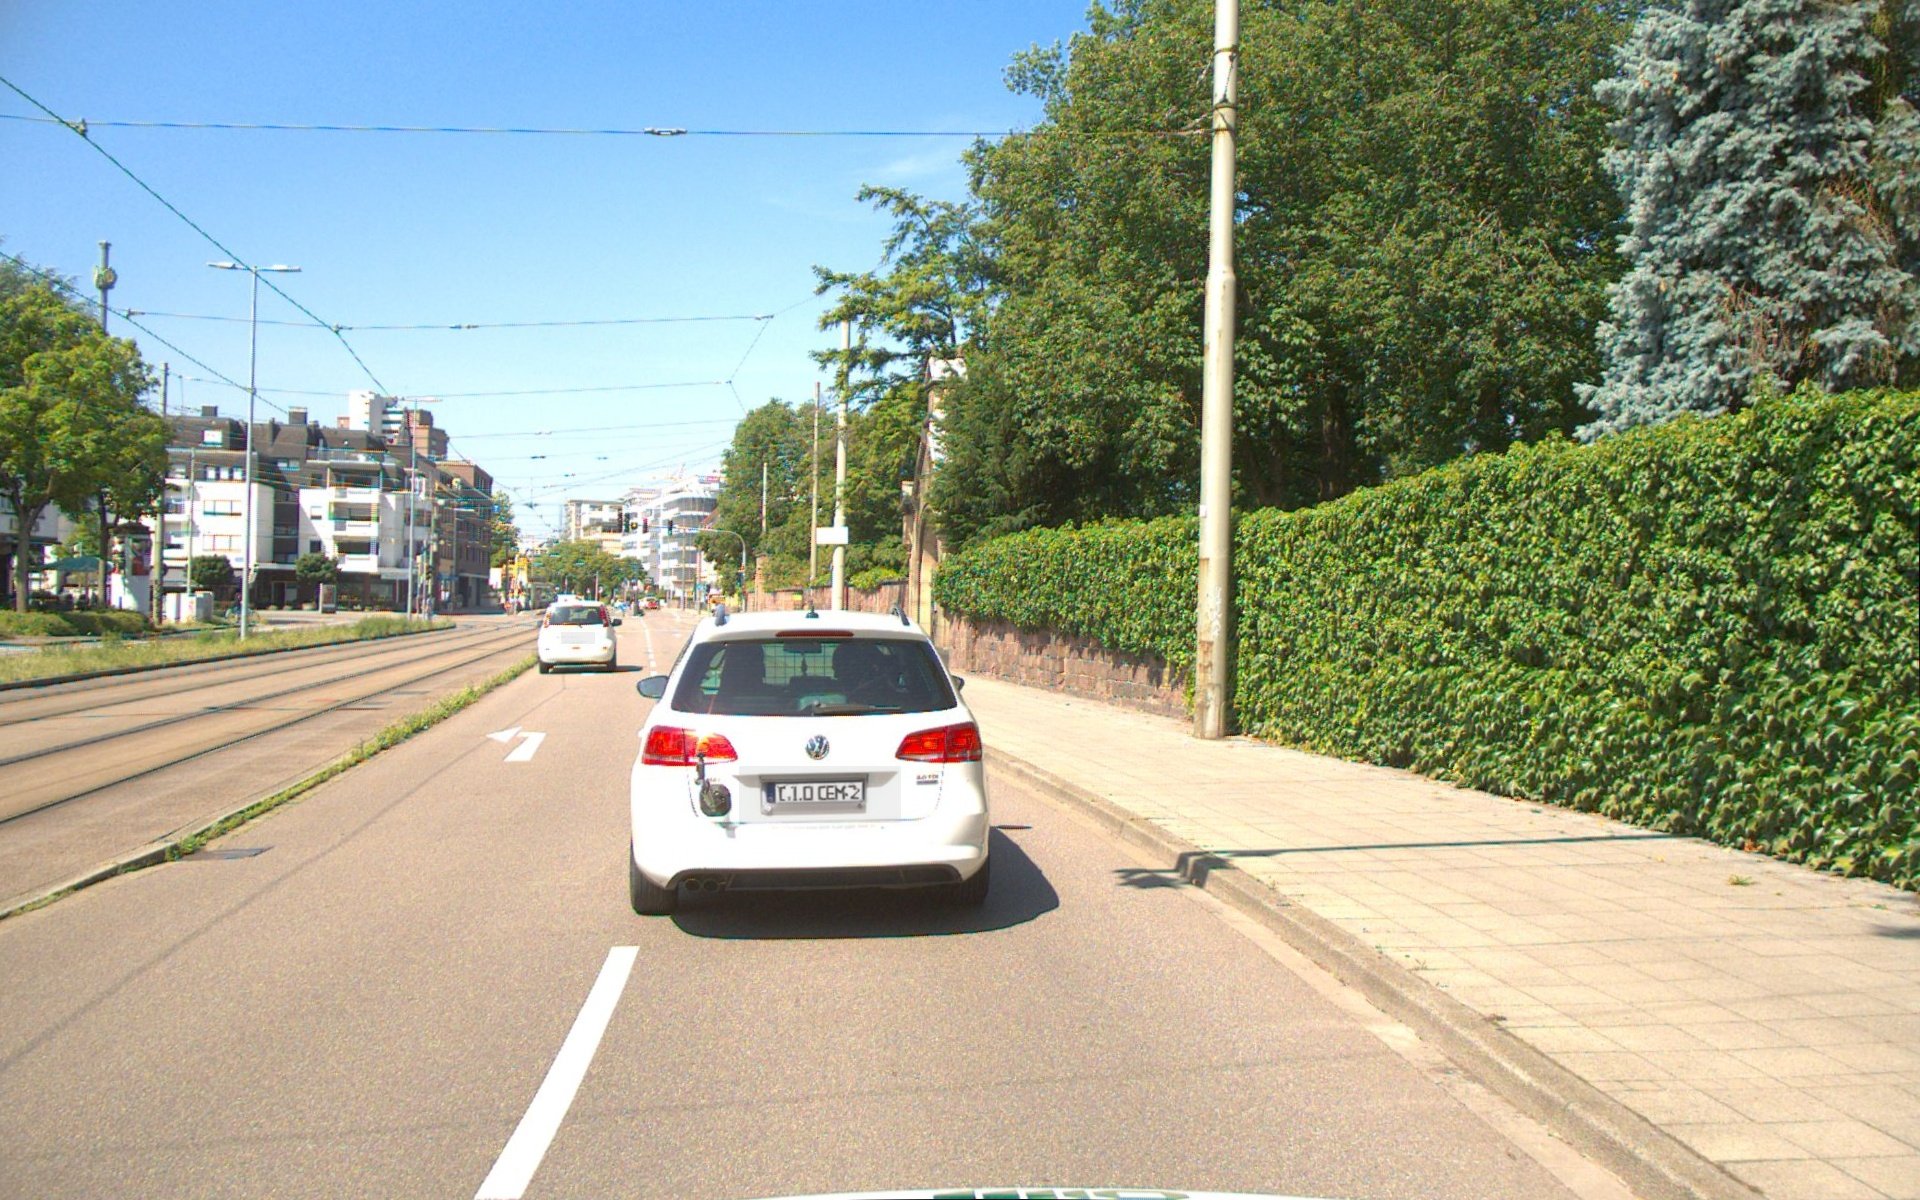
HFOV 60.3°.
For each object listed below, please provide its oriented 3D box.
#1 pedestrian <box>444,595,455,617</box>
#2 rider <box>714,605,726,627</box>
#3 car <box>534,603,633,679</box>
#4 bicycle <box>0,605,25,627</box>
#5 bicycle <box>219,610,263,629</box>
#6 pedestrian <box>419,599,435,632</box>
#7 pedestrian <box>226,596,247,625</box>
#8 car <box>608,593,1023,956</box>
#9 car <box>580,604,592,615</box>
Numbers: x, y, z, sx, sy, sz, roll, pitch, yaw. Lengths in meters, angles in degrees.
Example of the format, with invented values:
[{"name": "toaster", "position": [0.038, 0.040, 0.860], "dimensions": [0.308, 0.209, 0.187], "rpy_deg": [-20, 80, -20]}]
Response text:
[{"name": "pedestrian", "position": [-47.332, 0.566, 153.458], "dimensions": [0.921, 2.049, 0.986], "rpy_deg": [1, 0, -17]}, {"name": "rider", "position": [-20.164, 1.338, 138.904], "dimensions": [0.875, 1.759, 2.198], "rpy_deg": [1, 0, -10]}, {"name": "car", "position": [-8.508, 0.898, 37.652], "dimensions": [1.697, 1.624, 4.006], "rpy_deg": [1, 0, -6]}, {"name": "bicycle", "position": [-39.333, 0.655, 68.053], "dimensions": [0.769, 0.904, 2.385], "rpy_deg": [1, 0, -10]}, {"name": "bicycle", "position": [-37.473, 1.020, 86.191], "dimensions": [0.541, 0.937, 2.171], "rpy_deg": [0, -1, 32]}, {"name": "pedestrian", "position": [-28.791, 0.858, 89.297], "dimensions": [0.813, 1.769, 0.927], "rpy_deg": [0, -1, -19]}, {"name": "pedestrian", "position": [-37.870, 0.549, 86.613], "dimensions": [0.554, 1.513, 0.814], "rpy_deg": [0, -1, 32]}, {"name": "car", "position": [-0.792, 0.742, 8.940], "dimensions": [1.744, 1.516, 3.842], "rpy_deg": [0, 0, -6]}, {"name": "car", "position": [-54.005, 1.380, 238.715], "dimensions": [1.668, 1.619, 3.524], "rpy_deg": [0, 0, -12]}]
